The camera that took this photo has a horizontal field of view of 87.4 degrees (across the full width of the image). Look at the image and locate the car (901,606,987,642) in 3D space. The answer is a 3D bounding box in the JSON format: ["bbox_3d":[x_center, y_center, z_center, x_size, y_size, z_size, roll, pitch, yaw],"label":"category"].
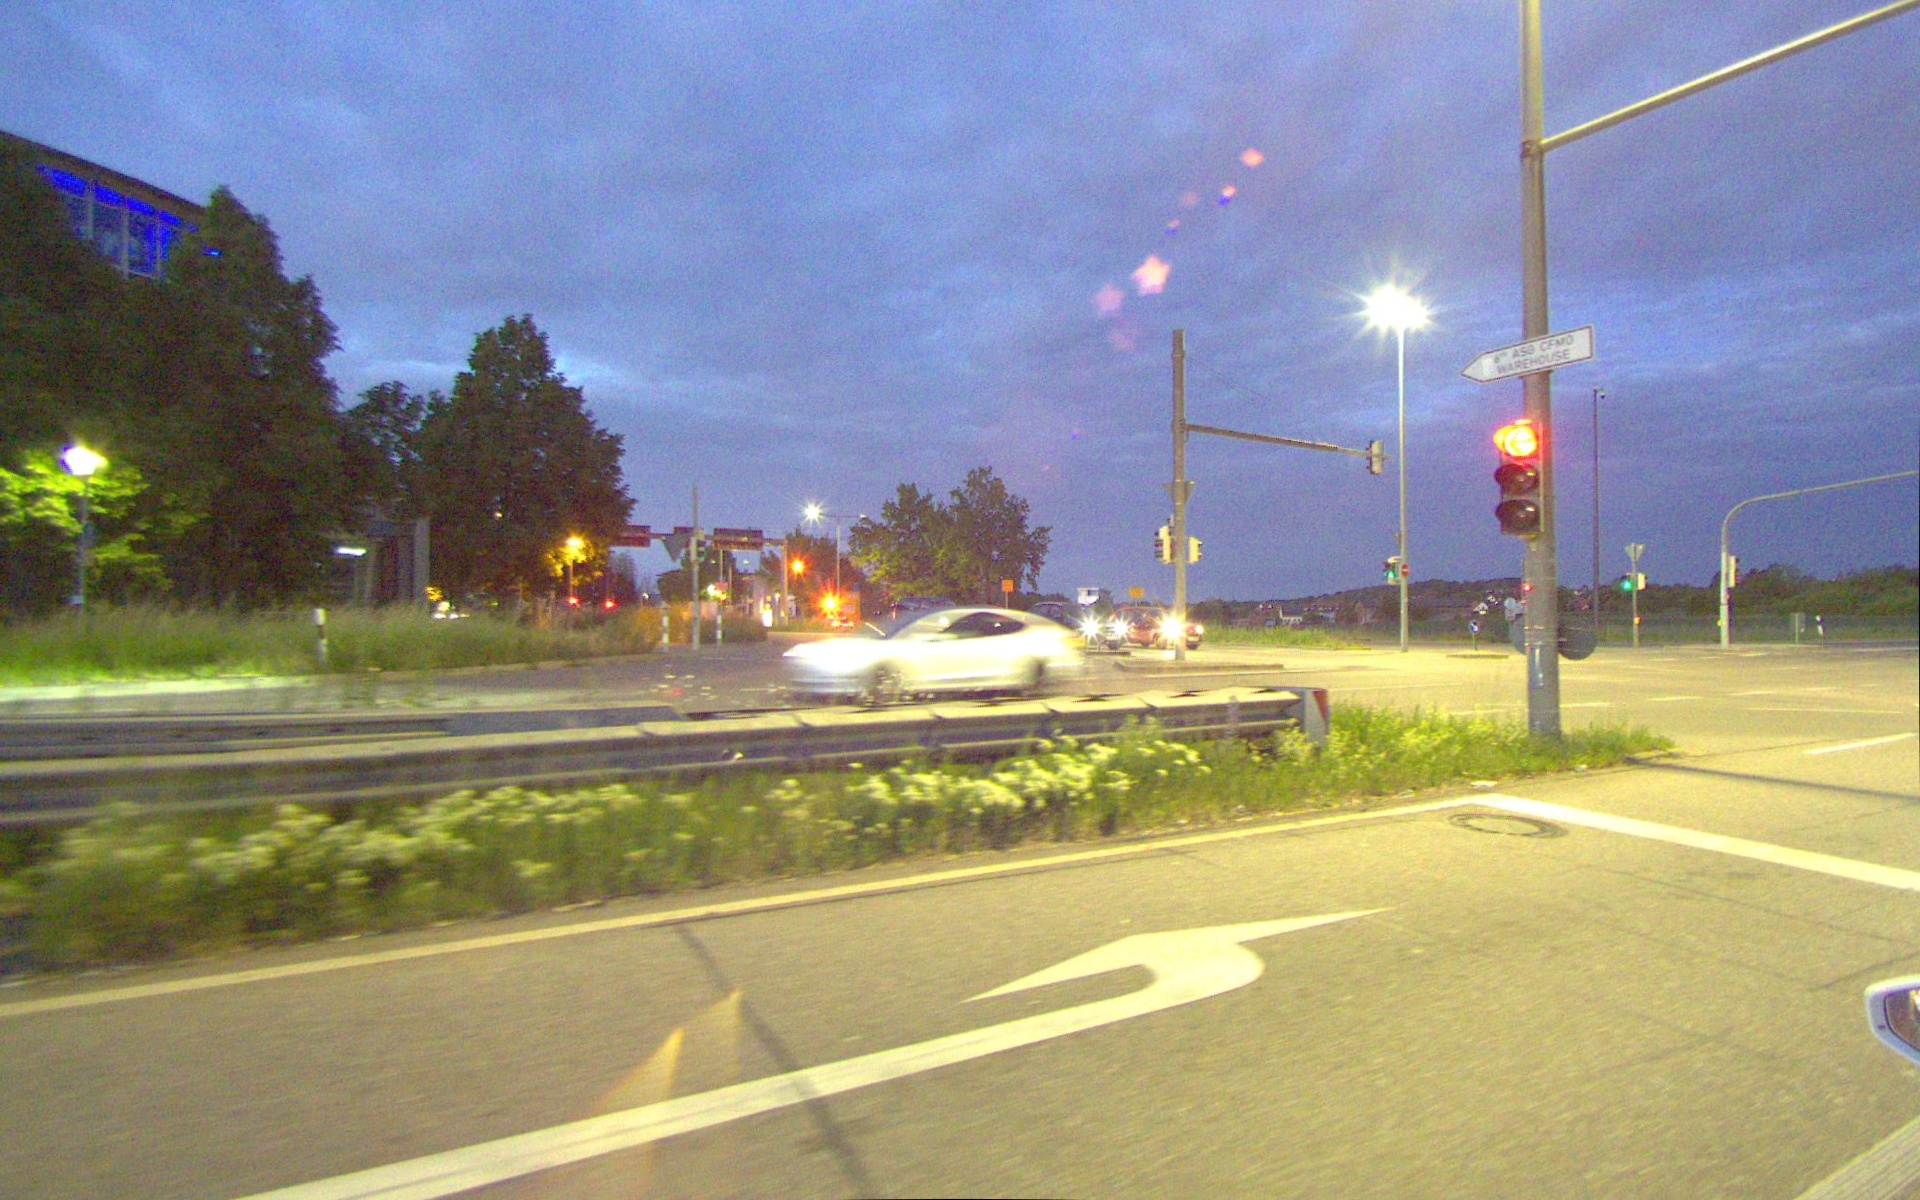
[{"bbox_3d":[-0.874,1.168,50.088,2.187,1.716,4.563,1,-1,-34],"label":"car"}]

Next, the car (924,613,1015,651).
[{"bbox_3d":[0.340,1.289,41.074,1.713,1.493,3.960,2,-2,-35],"label":"car"}]

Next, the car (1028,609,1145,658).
[{"bbox_3d":[4.223,1.121,34.175,1.710,1.558,4.291,1,-2,-31],"label":"car"}]

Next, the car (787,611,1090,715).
[{"bbox_3d":[-0.303,0.930,16.059,4.479,1.444,1.984,1,-1,-31],"label":"car"}]

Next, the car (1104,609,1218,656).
[{"bbox_3d":[7.088,1.144,35.728,1.711,1.558,4.018,1,-2,-32],"label":"car"}]
